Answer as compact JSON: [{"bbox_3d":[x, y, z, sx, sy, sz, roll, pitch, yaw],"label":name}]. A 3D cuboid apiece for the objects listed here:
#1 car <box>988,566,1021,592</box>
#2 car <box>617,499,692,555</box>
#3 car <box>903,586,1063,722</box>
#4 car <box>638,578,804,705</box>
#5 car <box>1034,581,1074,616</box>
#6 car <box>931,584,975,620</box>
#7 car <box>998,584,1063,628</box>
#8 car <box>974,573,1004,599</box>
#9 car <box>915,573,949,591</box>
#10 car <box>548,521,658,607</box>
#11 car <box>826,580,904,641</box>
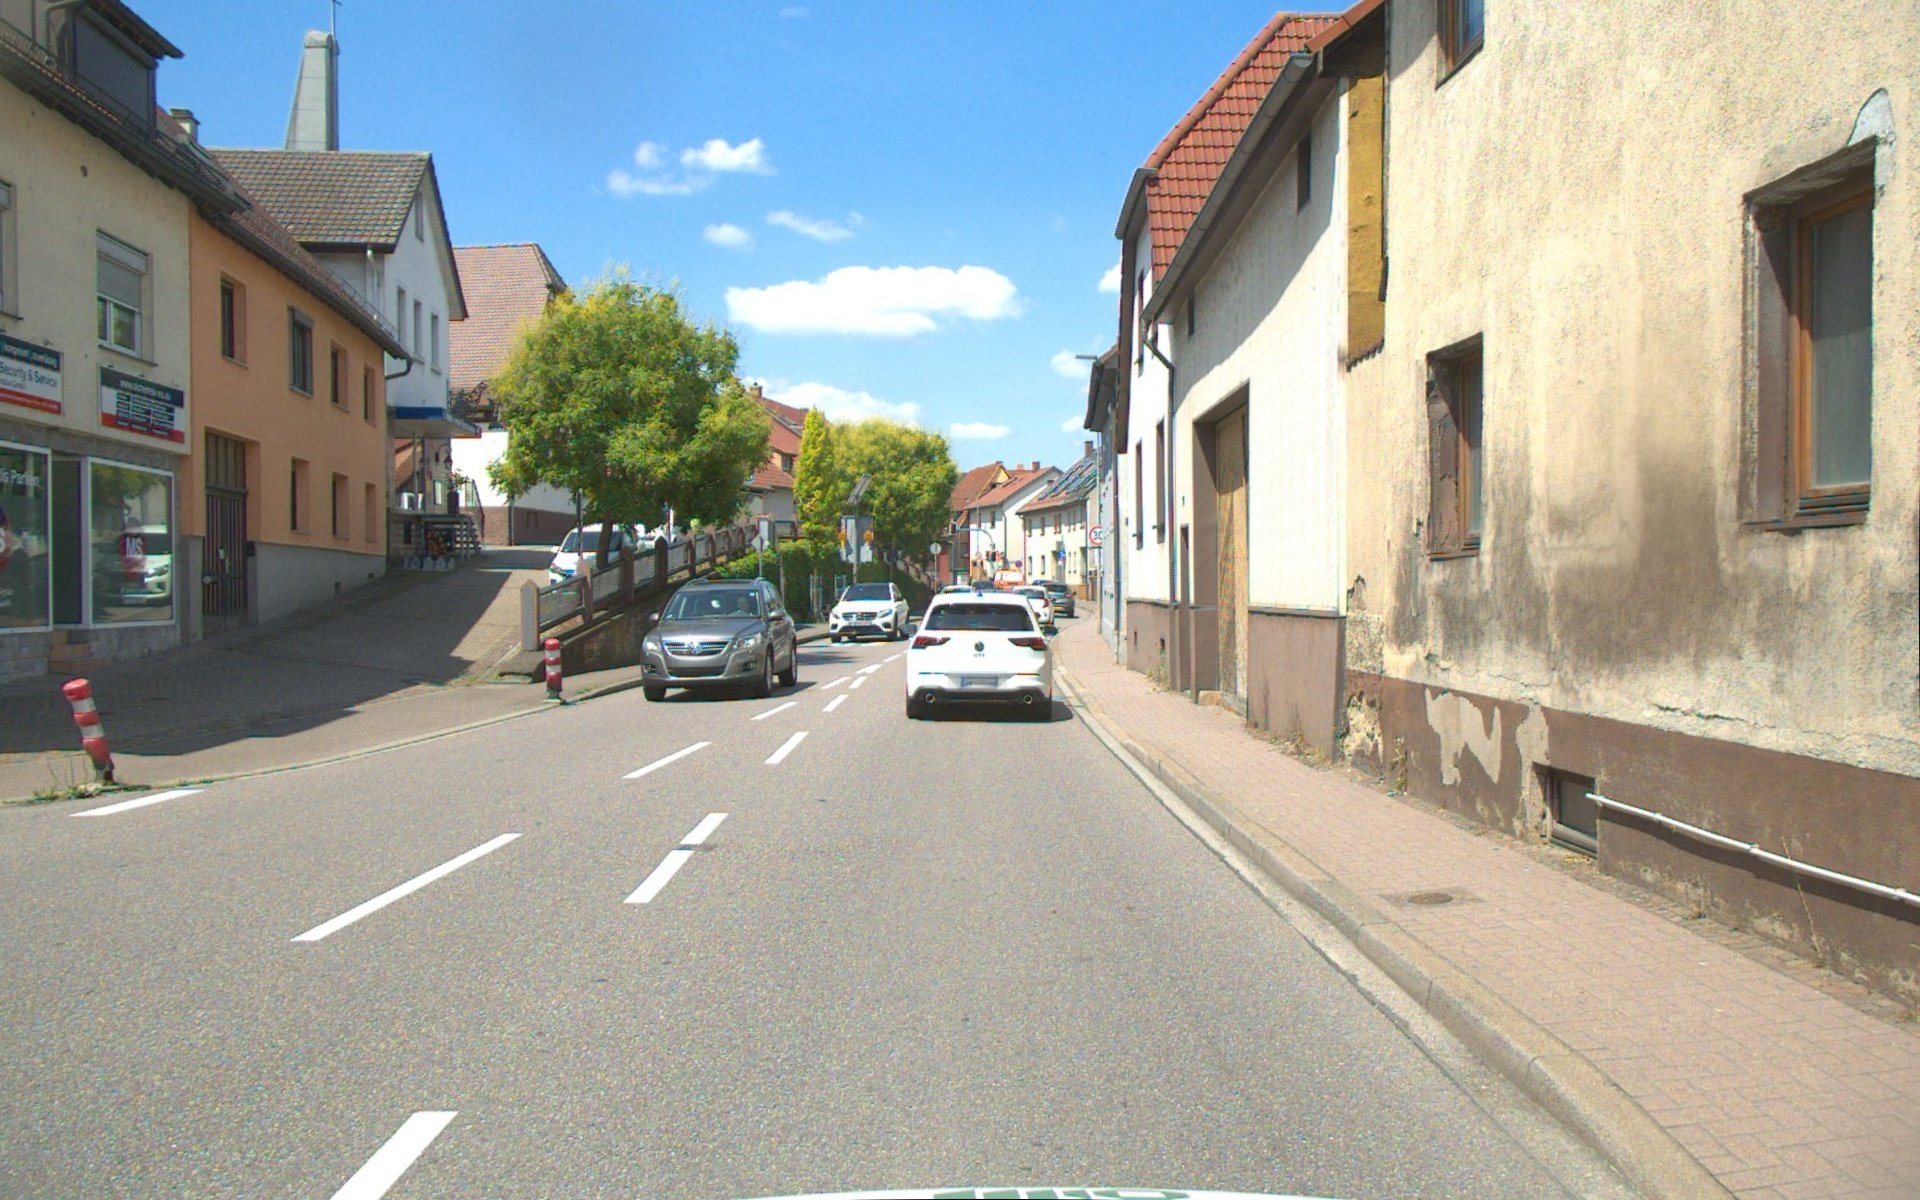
[{"bbox_3d":[3.130,-1.484,118.288,1.742,1.796,3.993,-1,1,-8],"label":"car"},{"bbox_3d":[-9.012,-2.202,49.072,1.544,1.385,3.858,-1,7,-1],"label":"car"},{"bbox_3d":[0.285,0.584,20.532,1.770,1.493,4.000,1,0,1],"label":"car"},{"bbox_3d":[-3.413,0.533,24.344,1.721,1.664,4.050,-1,1,2],"label":"car"},{"bbox_3d":[4.445,-0.097,77.462,1.738,1.565,4.003,-1,1,5],"label":"car"},{"bbox_3d":[-0.284,0.062,73.045,1.776,1.472,4.431,-2,1,1],"label":"car"},{"bbox_3d":[2.558,0.187,59.098,1.769,1.493,4.004,1,0,10],"label":"car"},{"bbox_3d":[1.782,-0.866,100.540,1.583,1.469,3.804,-2,1,5],"label":"car"},{"bbox_3d":[-2.187,-1.437,129.623,1.764,1.401,4.101,-1,1,-14],"label":"car"},{"bbox_3d":[-7.959,-0.862,37.181,1.659,1.569,3.858,-1,6,-1],"label":"car"},{"bbox_3d":[-2.684,0.269,47.678,1.804,1.607,4.447,-1,1,2],"label":"car"}]
